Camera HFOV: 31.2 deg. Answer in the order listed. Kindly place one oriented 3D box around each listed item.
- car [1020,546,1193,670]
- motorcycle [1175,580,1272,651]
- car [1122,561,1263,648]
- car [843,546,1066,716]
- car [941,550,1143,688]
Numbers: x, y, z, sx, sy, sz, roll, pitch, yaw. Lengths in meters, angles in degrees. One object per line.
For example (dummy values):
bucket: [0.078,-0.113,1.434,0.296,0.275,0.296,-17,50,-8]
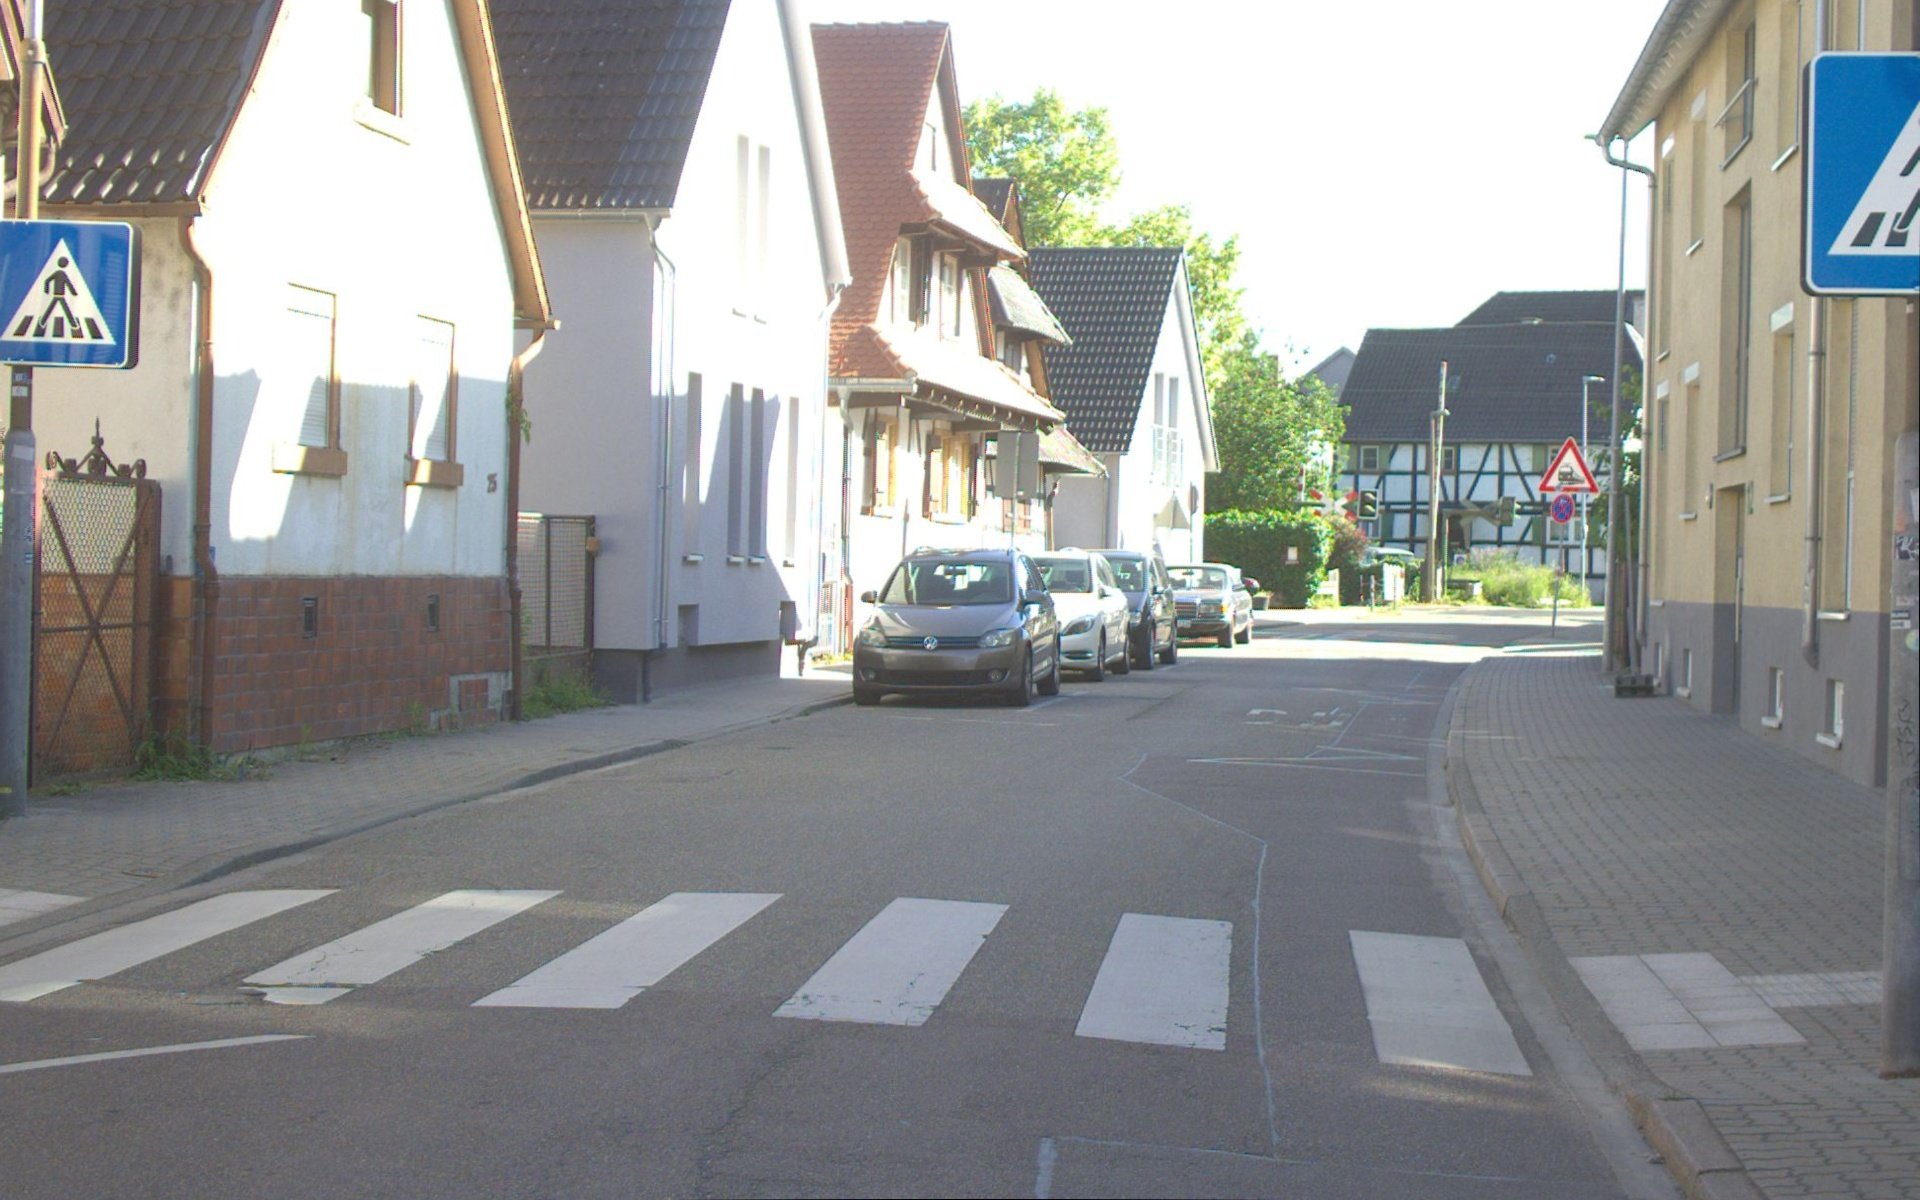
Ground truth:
car: [2.089,0.097,47.840,1.784,1.599,4.359,1,0,10]
motorcycle: [4.790,0.272,62.628,0.625,1.227,1.994,0,1,-35]
car: [4.032,0.076,58.919,1.845,1.401,5.034,0,0,10]
car: [0.004,0.302,35.499,1.743,1.608,3.999,1,0,8]
car: [1.069,0.221,42.287,1.817,1.561,4.166,1,0,10]
